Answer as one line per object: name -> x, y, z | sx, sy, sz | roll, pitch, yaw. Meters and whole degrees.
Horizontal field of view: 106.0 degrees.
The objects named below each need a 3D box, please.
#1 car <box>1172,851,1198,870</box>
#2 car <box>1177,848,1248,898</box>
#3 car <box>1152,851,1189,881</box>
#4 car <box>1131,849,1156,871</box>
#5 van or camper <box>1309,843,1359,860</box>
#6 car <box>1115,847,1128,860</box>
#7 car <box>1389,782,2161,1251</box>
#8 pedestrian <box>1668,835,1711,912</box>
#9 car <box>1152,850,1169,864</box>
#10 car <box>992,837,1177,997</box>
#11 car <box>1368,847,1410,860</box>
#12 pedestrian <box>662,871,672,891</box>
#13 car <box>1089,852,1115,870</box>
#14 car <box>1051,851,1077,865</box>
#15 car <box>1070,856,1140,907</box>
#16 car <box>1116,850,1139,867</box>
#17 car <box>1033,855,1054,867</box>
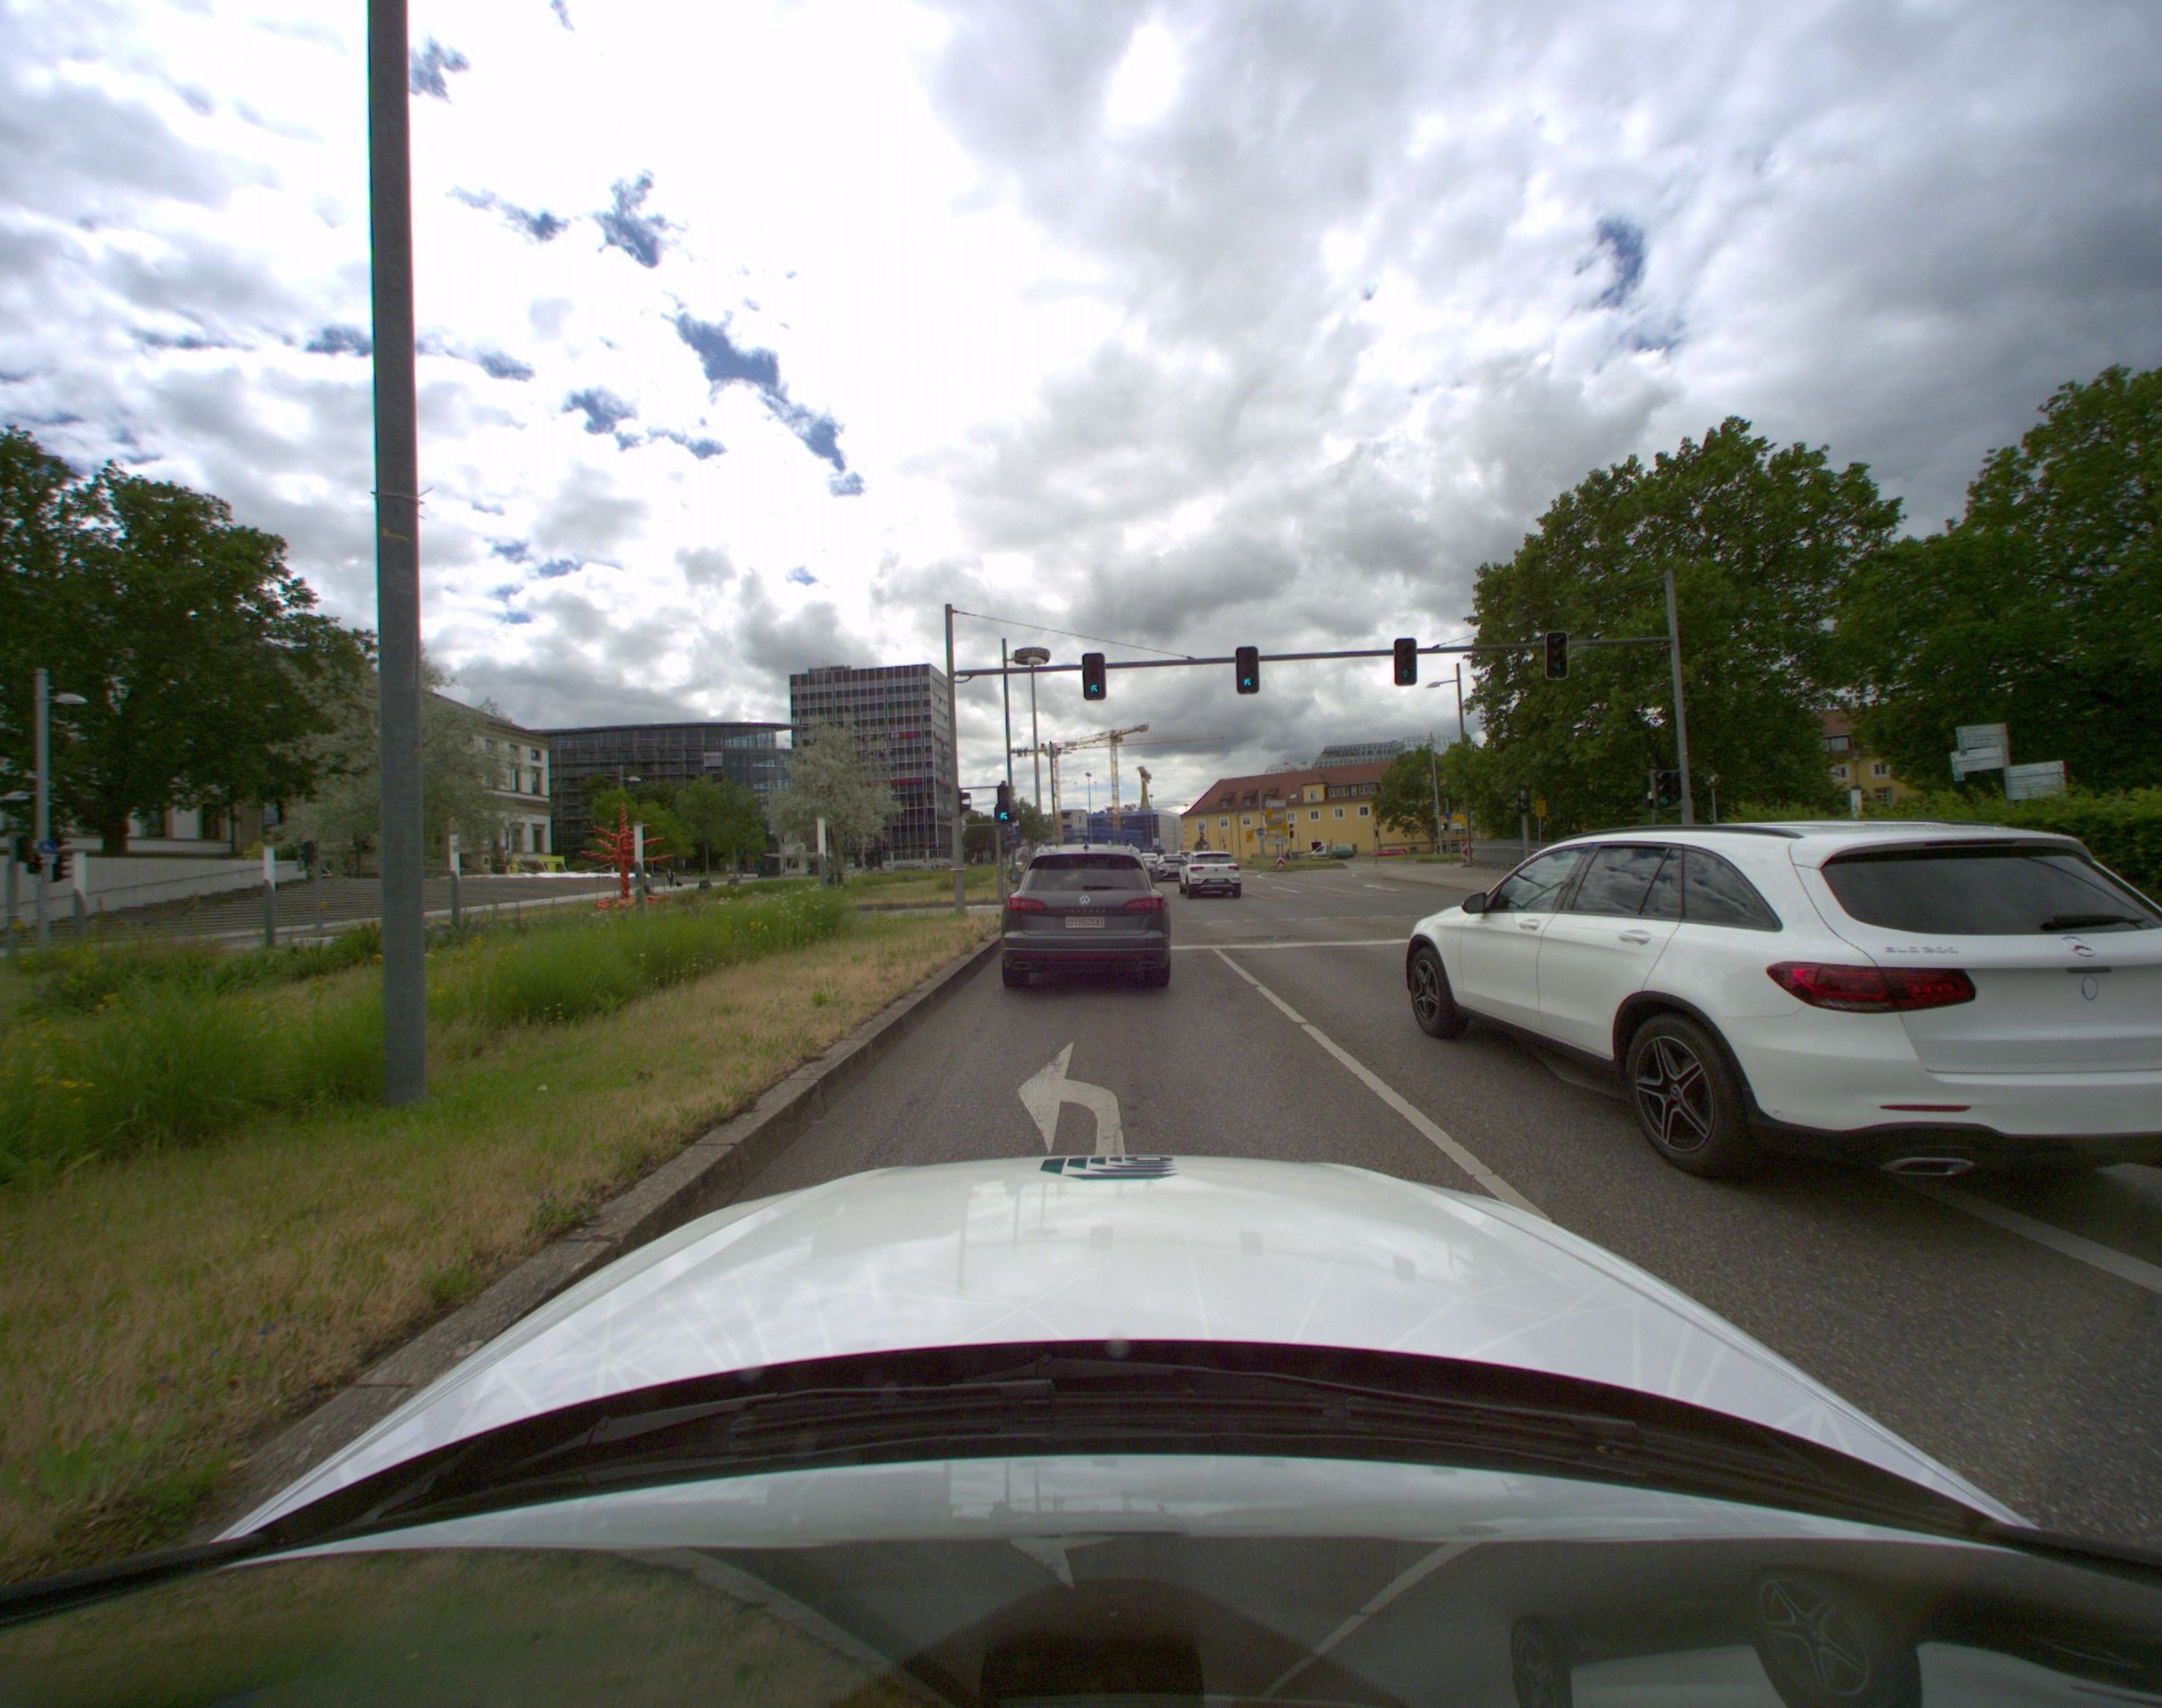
car -> 8.624, 0.517, 67.521 | 1.795, 1.502, 3.984 | -2, 0, 3
car -> 4.459, 0.605, 28.118 | 1.886, 1.585, 3.802 | -2, 0, 2
car -> 4.731, 0.607, 43.527 | 1.712, 1.502, 4.147 | -2, 0, 3
car -> 4.510, 0.384, 58.367 | 1.711, 1.502, 3.987 | -2, 0, 5
van or camper -> 33.070, -0.292, 106.532 | 5.946, 2.014, 2.032 | -2, -1, 37
car -> 6.797, -0.101, 136.055 | 1.986, 2.013, 4.001 | -2, 0, 1
car -> 3.654, 0.566, 5.109 | 1.812, 1.647, 4.379 | -2, 0, 1
pedestrian -> 14.334, 0.458, 19.196 | 0.477, 1.764, 0.620 | -2, -1, -2
car -> 9.029, 0.288, 92.299 | 1.712, 1.502, 3.984 | -2, 0, 3
car -> 0.094, 0.661, 10.634 | 1.926, 1.647, 4.001 | -2, 0, 1
car -> 38.775, -0.086, 102.453 | 4.632, 1.420, 1.607 | -2, -1, 33
pedestrian -> -34.470, 2.216, 67.805 | 0.522, 1.649, 0.650 | -1, -1, 0
car -> 1.793, 0.579, 71.607 | 1.812, 1.496, 3.898 | -2, 0, -6
car -> -2.065, 0.449, 96.945 | 2.246, 1.502, 4.592 | -2, 0, -12
car -> 0.757, 0.799, 25.851 | 1.986, 1.387, 4.002 | -2, 0, 1
car -> 4.359, 0.420, 77.122 | 1.809, 1.496, 3.905 | -3, 0, -1
car -> -4.964, 0.891, 107.655 | 1.724, 1.502, 3.956 | -1, 0, -18
